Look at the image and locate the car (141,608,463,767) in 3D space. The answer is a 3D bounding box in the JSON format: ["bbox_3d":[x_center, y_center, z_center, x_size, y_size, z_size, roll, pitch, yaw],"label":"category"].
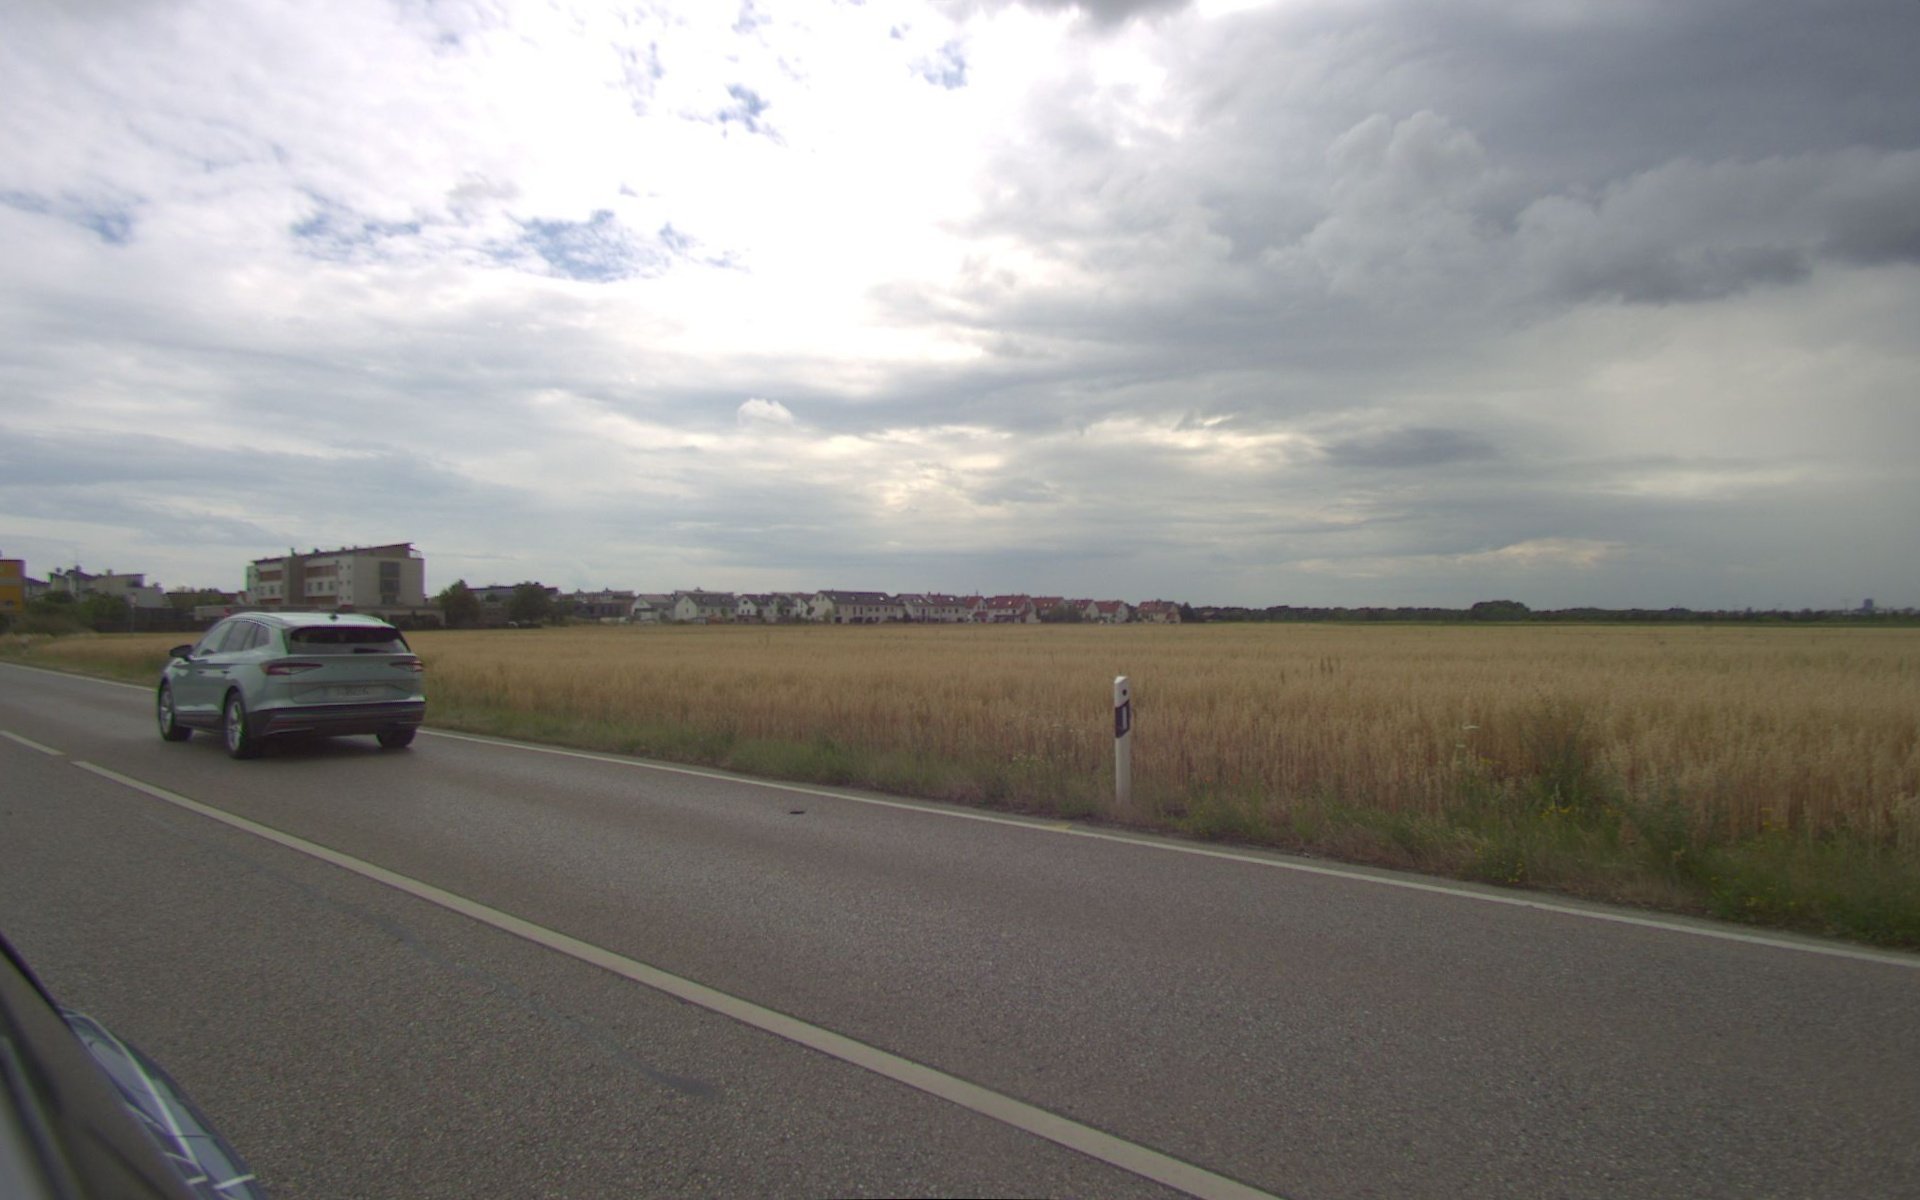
[{"bbox_3d":[-8.243,0.970,12.496,4.762,1.593,2.043,-2,-3,41],"label":"car"}]
